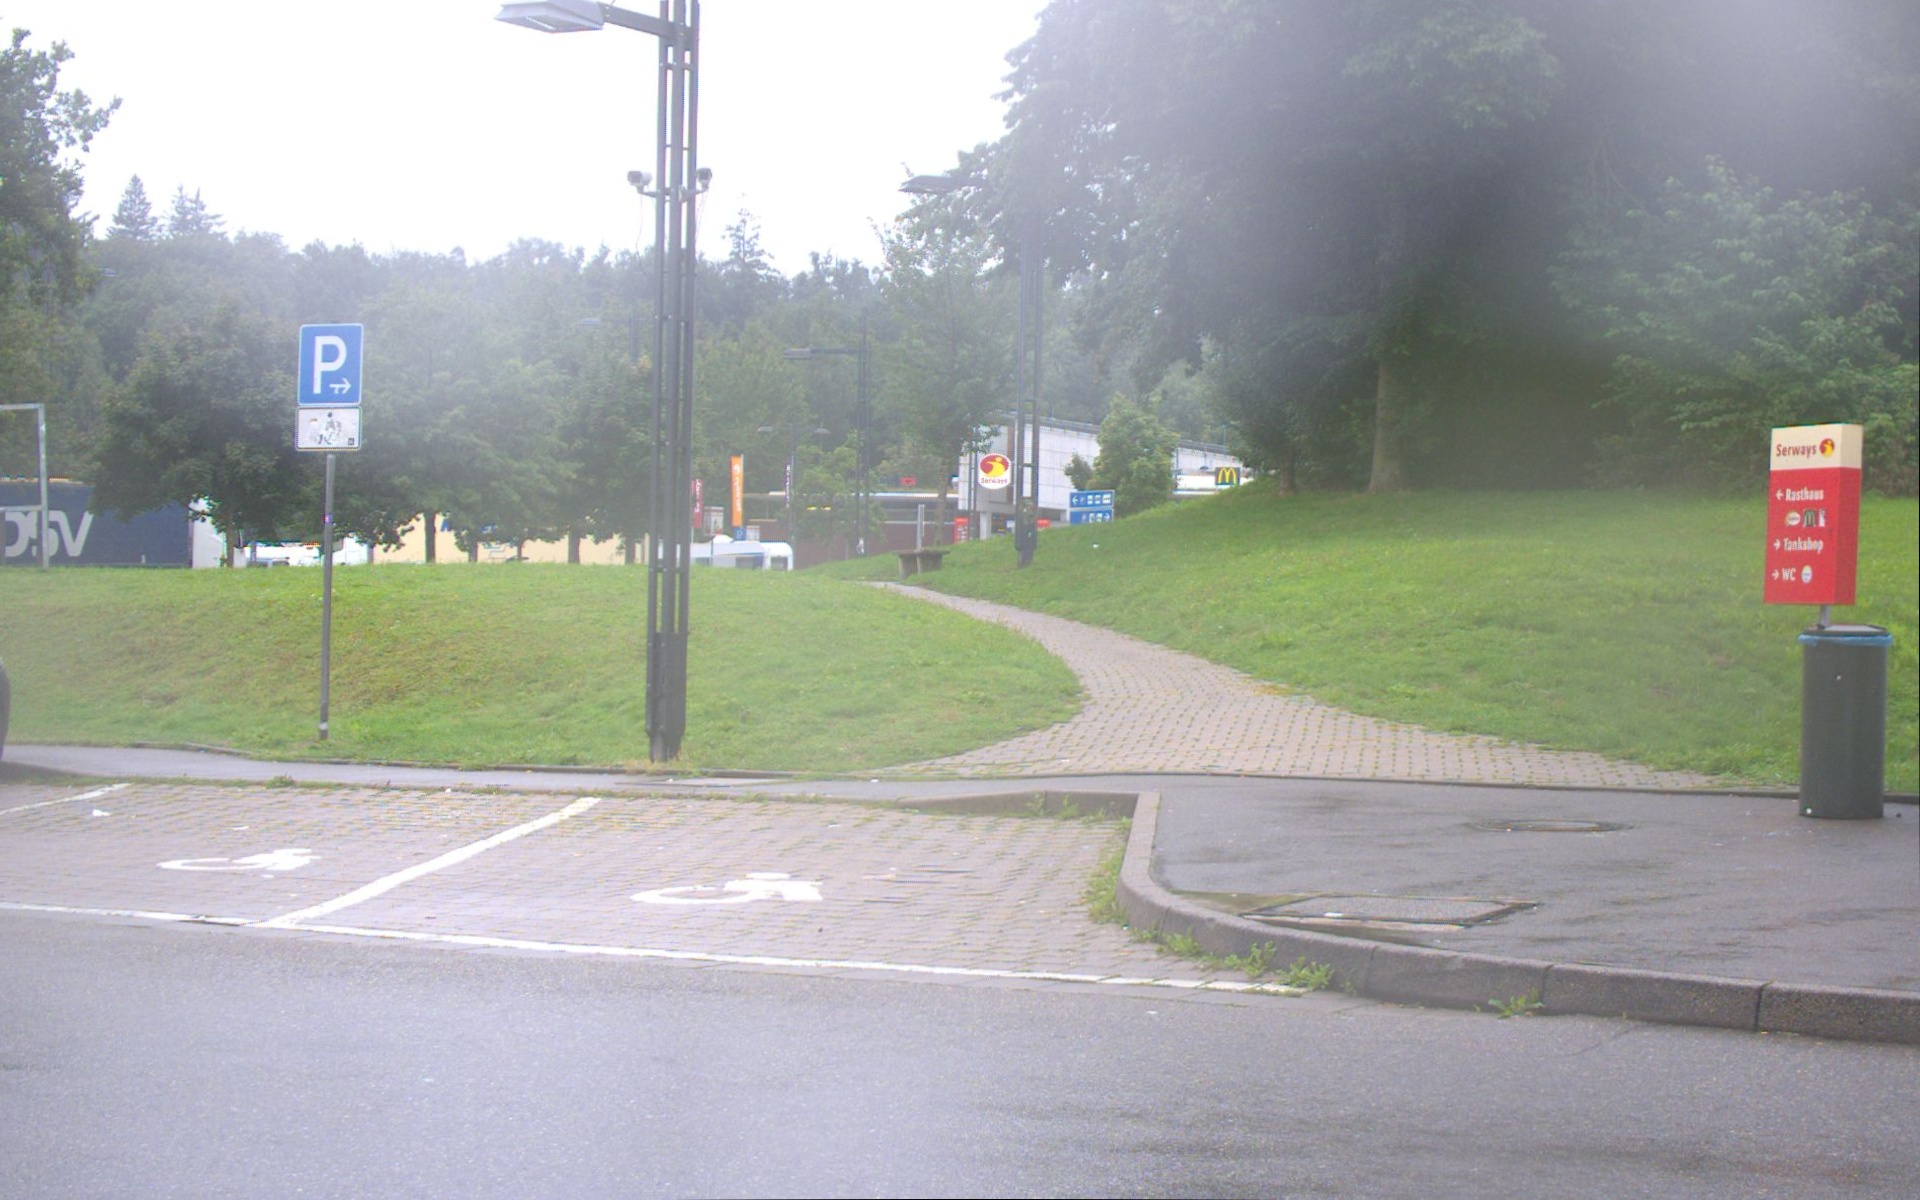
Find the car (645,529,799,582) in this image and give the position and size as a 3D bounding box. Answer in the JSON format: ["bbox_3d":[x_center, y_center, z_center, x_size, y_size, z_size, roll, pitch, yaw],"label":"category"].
[{"bbox_3d":[-9.264,-1.745,133.757,5.429,2.007,2.453,1,1,20],"label":"car"}]

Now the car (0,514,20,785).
[{"bbox_3d":[-7.764,0.371,21.458,1.885,1.821,4.411,0,1,11],"label":"car"}]
